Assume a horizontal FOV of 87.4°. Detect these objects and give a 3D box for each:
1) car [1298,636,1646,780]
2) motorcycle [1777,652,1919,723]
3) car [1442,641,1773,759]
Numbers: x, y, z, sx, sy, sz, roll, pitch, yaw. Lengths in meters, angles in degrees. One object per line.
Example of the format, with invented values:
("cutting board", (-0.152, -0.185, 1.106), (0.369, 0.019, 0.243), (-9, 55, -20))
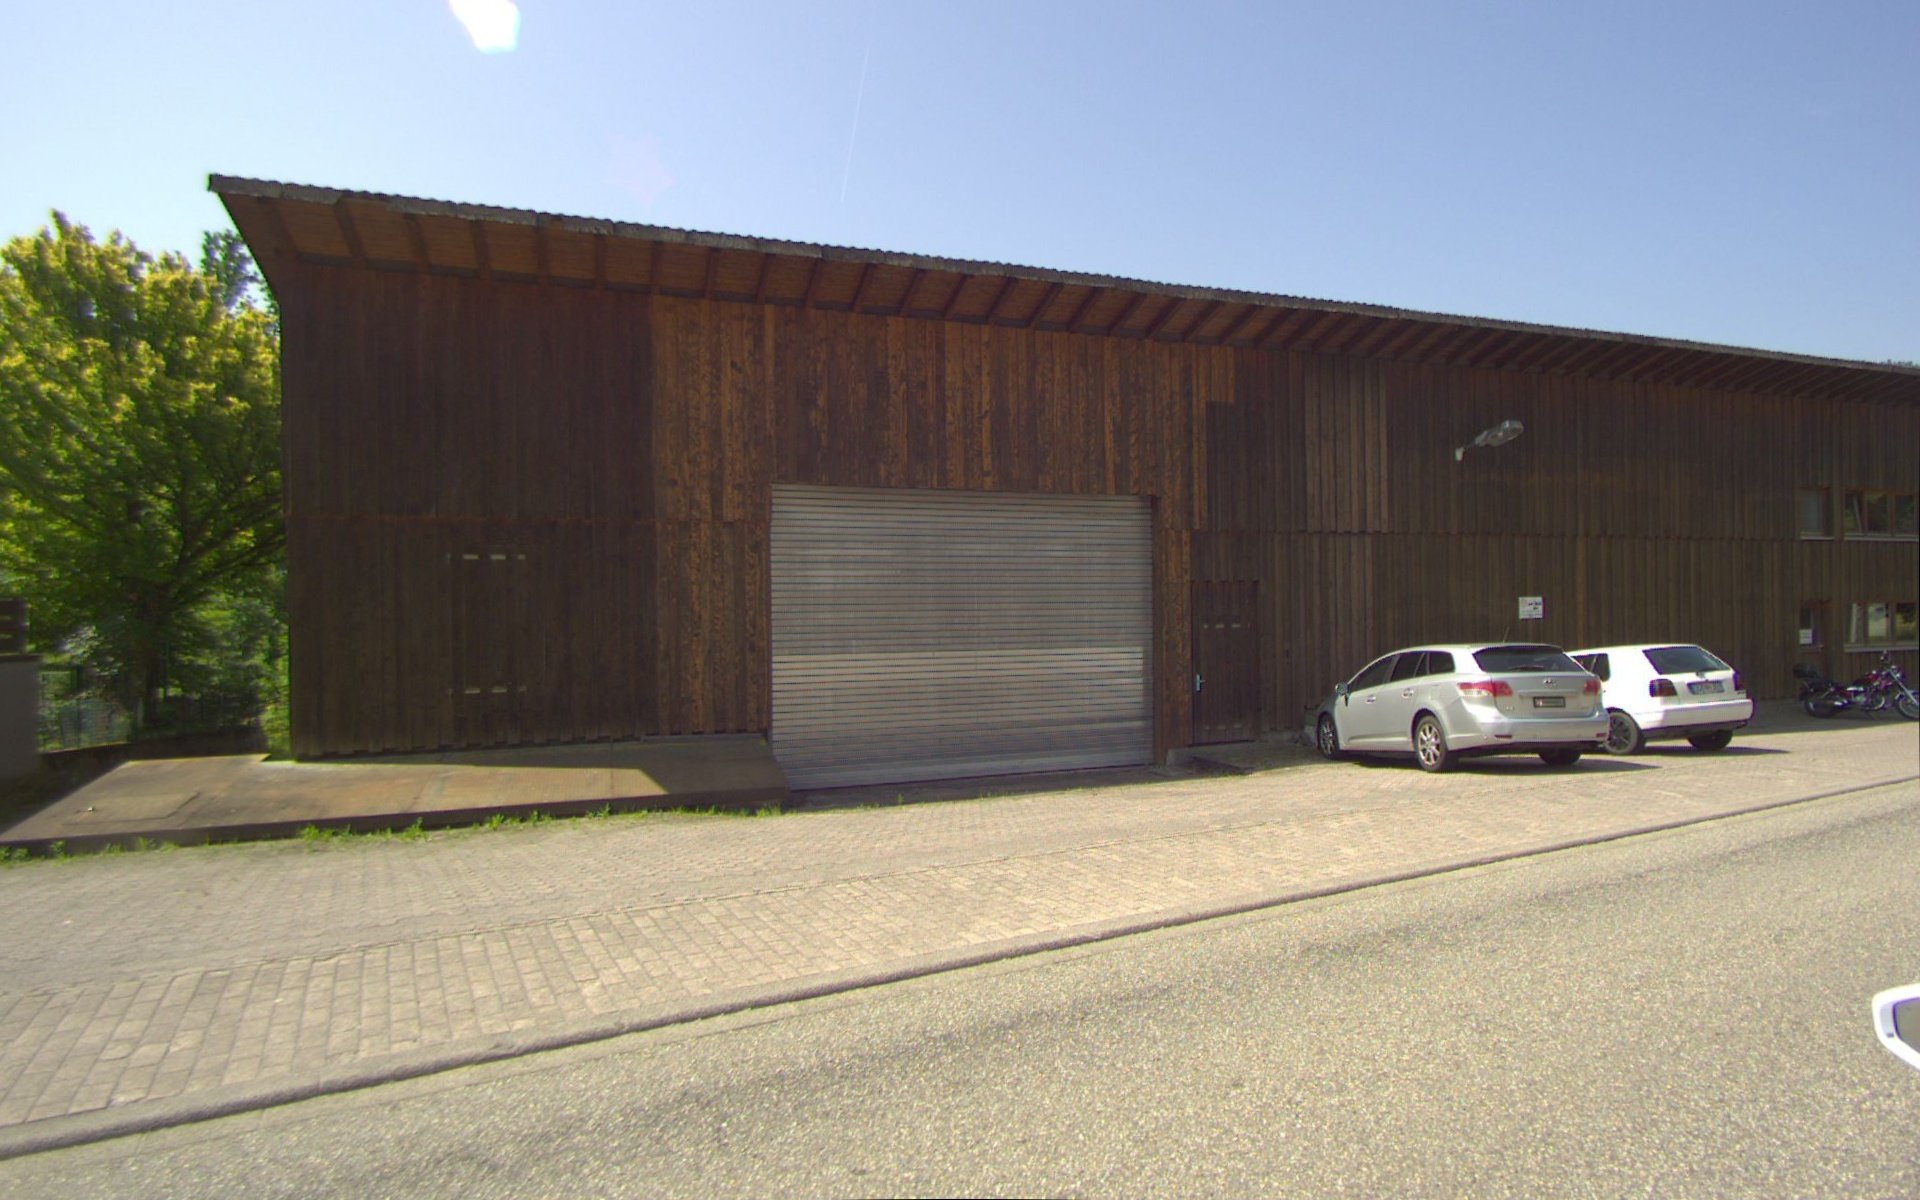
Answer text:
("car", (6.244, 1.342, 12.987), (1.888, 1.493, 4.444), (-1, -5, -5))
("motorcycle", (17.616, 1.671, 19.707), (0.732, 1.281, 2.406), (1, -2, -20))
("car", (8.821, 1.386, 14.084), (1.682, 1.403, 3.662), (0, -6, -15))
